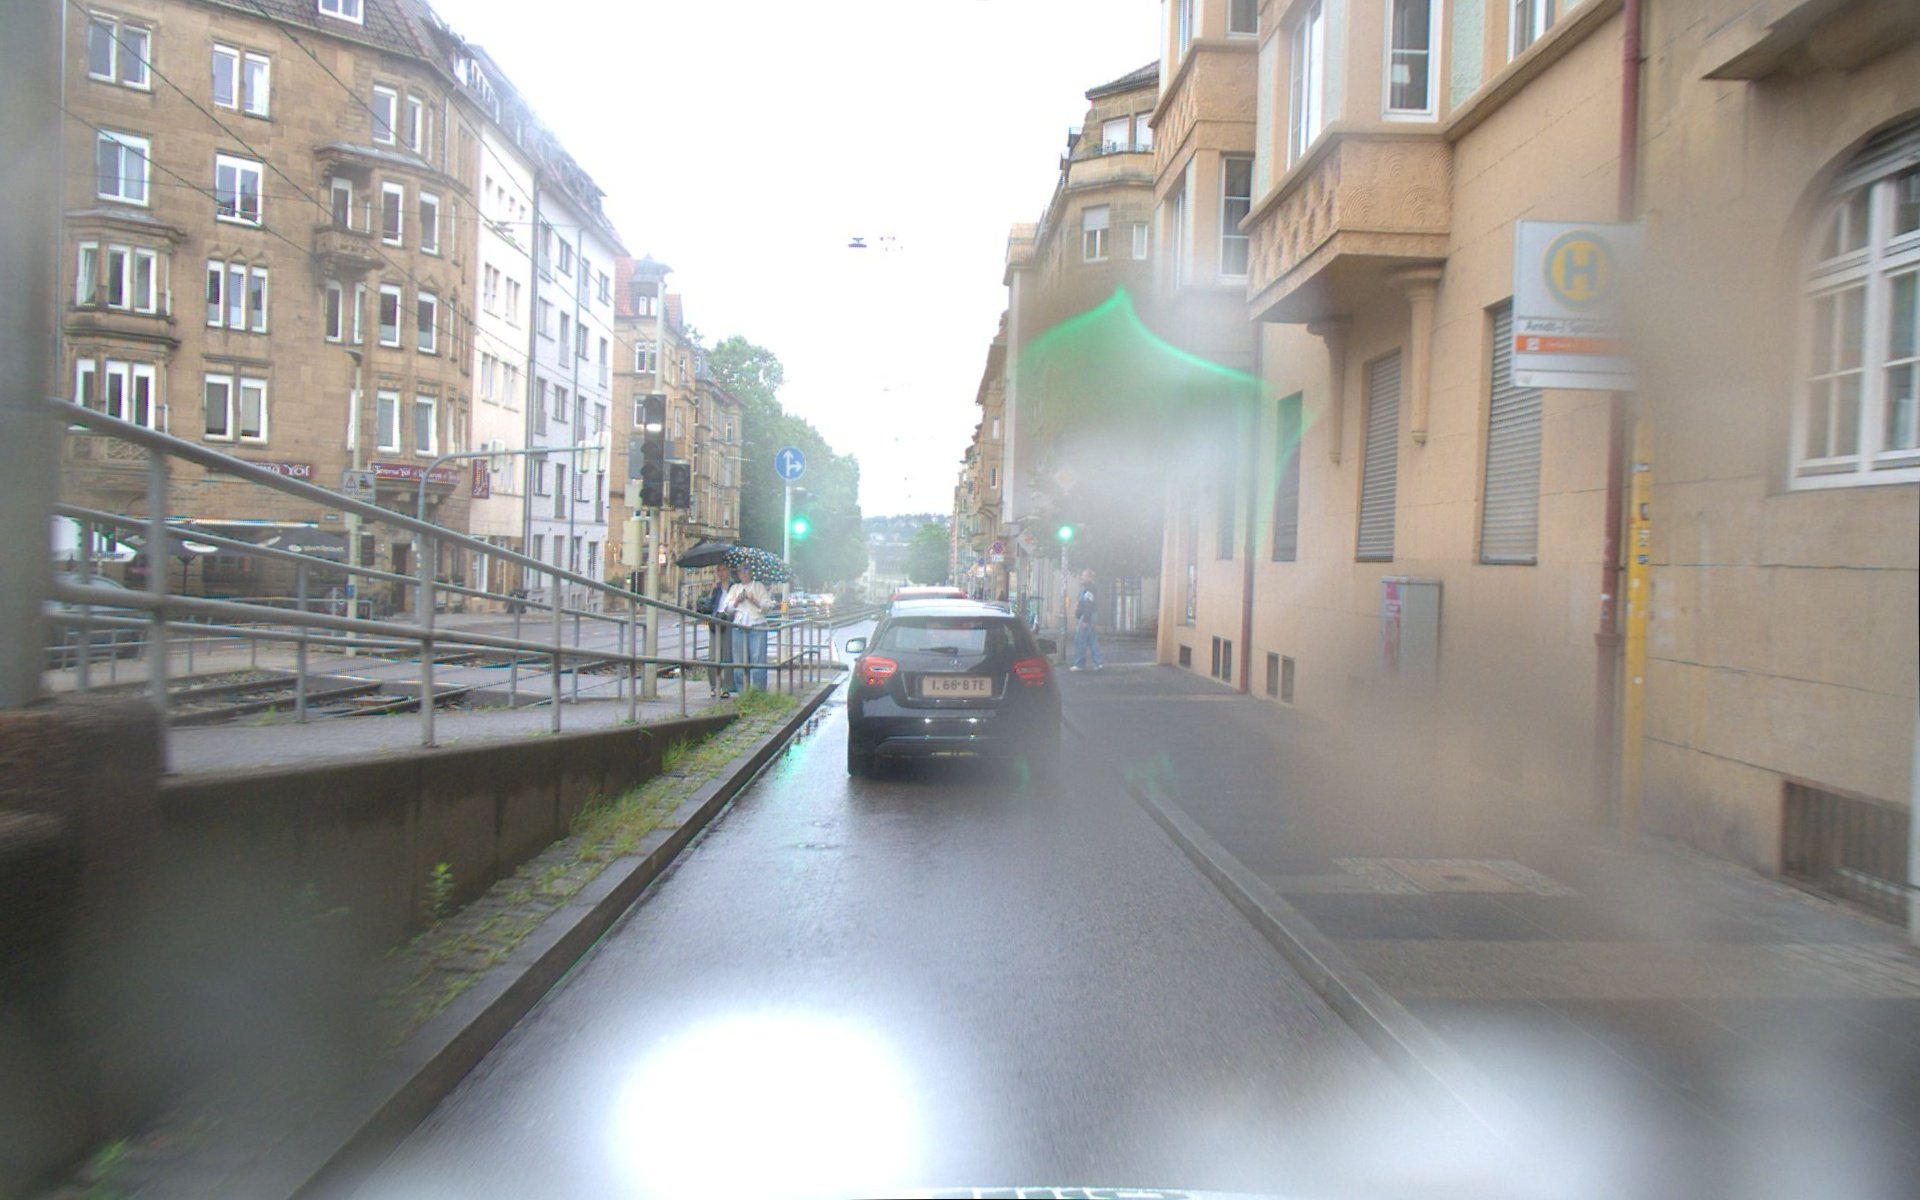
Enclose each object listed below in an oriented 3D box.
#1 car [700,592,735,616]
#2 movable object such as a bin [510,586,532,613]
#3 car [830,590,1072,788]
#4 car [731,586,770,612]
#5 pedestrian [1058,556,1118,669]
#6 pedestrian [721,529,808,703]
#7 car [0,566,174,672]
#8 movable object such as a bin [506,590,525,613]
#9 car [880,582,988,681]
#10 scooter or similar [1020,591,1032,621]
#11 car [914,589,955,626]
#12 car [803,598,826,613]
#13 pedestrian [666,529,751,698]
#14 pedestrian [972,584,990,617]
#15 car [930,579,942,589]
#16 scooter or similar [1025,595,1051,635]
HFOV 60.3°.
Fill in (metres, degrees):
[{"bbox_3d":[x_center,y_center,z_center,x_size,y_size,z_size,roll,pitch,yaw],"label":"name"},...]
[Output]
[{"bbox_3d":[-16.120,0.235,110.062,1.687,1.568,3.934,0,0,1],"label":"car"},{"bbox_3d":[-18.966,-0.032,71.442,0.698,1.092,0.687,4,0,-2],"label":"movable object such as a bin"},{"bbox_3d":[-0.043,0.670,14.681,1.828,1.477,4.000,1,0,1],"label":"car"},{"bbox_3d":[-13.599,-0.054,107.838,1.953,1.656,5.251,0,-1,-1],"label":"car"},{"bbox_3d":[2.214,0.211,28.643,0.945,1.872,0.903,-3,0,4],"label":"pedestrian"},{"bbox_3d":[-2.366,0.191,20.169,0.907,2.049,0.947,2,0,-1],"label":"pedestrian"},{"bbox_3d":[-14.314,0.246,26.070,1.610,1.523,4.763,1,0,-1],"label":"car"},{"bbox_3d":[-19.000,0.058,70.708,0.582,0.927,0.560,4,0,-2],"label":"movable object such as a bin"},{"bbox_3d":[-0.410,0.469,27.142,1.616,1.477,4.000,1,0,0],"label":"car"},{"bbox_3d":[2.676,0.244,67.505,0.387,1.237,1.106,0,0,-3],"label":"scooter or similar"},{"bbox_3d":[-1.104,0.314,72.308,1.729,1.586,4.744,0,0,-1],"label":"car"},{"bbox_3d":[-14.382,0.527,163.826,1.908,1.421,4.273,-1,0,-1],"label":"car"},{"bbox_3d":[-3.147,0.161,20.761,0.879,2.049,0.947,2,0,-1],"label":"pedestrian"},{"bbox_3d":[1.168,0.041,90.579,0.926,1.800,1.014,0,0,-3],"label":"pedestrian"},{"bbox_3d":[-3.281,-2.155,224.174,1.581,1.340,3.999,2,0,-1],"label":"car"},{"bbox_3d":[2.455,0.472,52.226,0.625,1.231,1.551,0,0,-5],"label":"scooter or similar"}]
